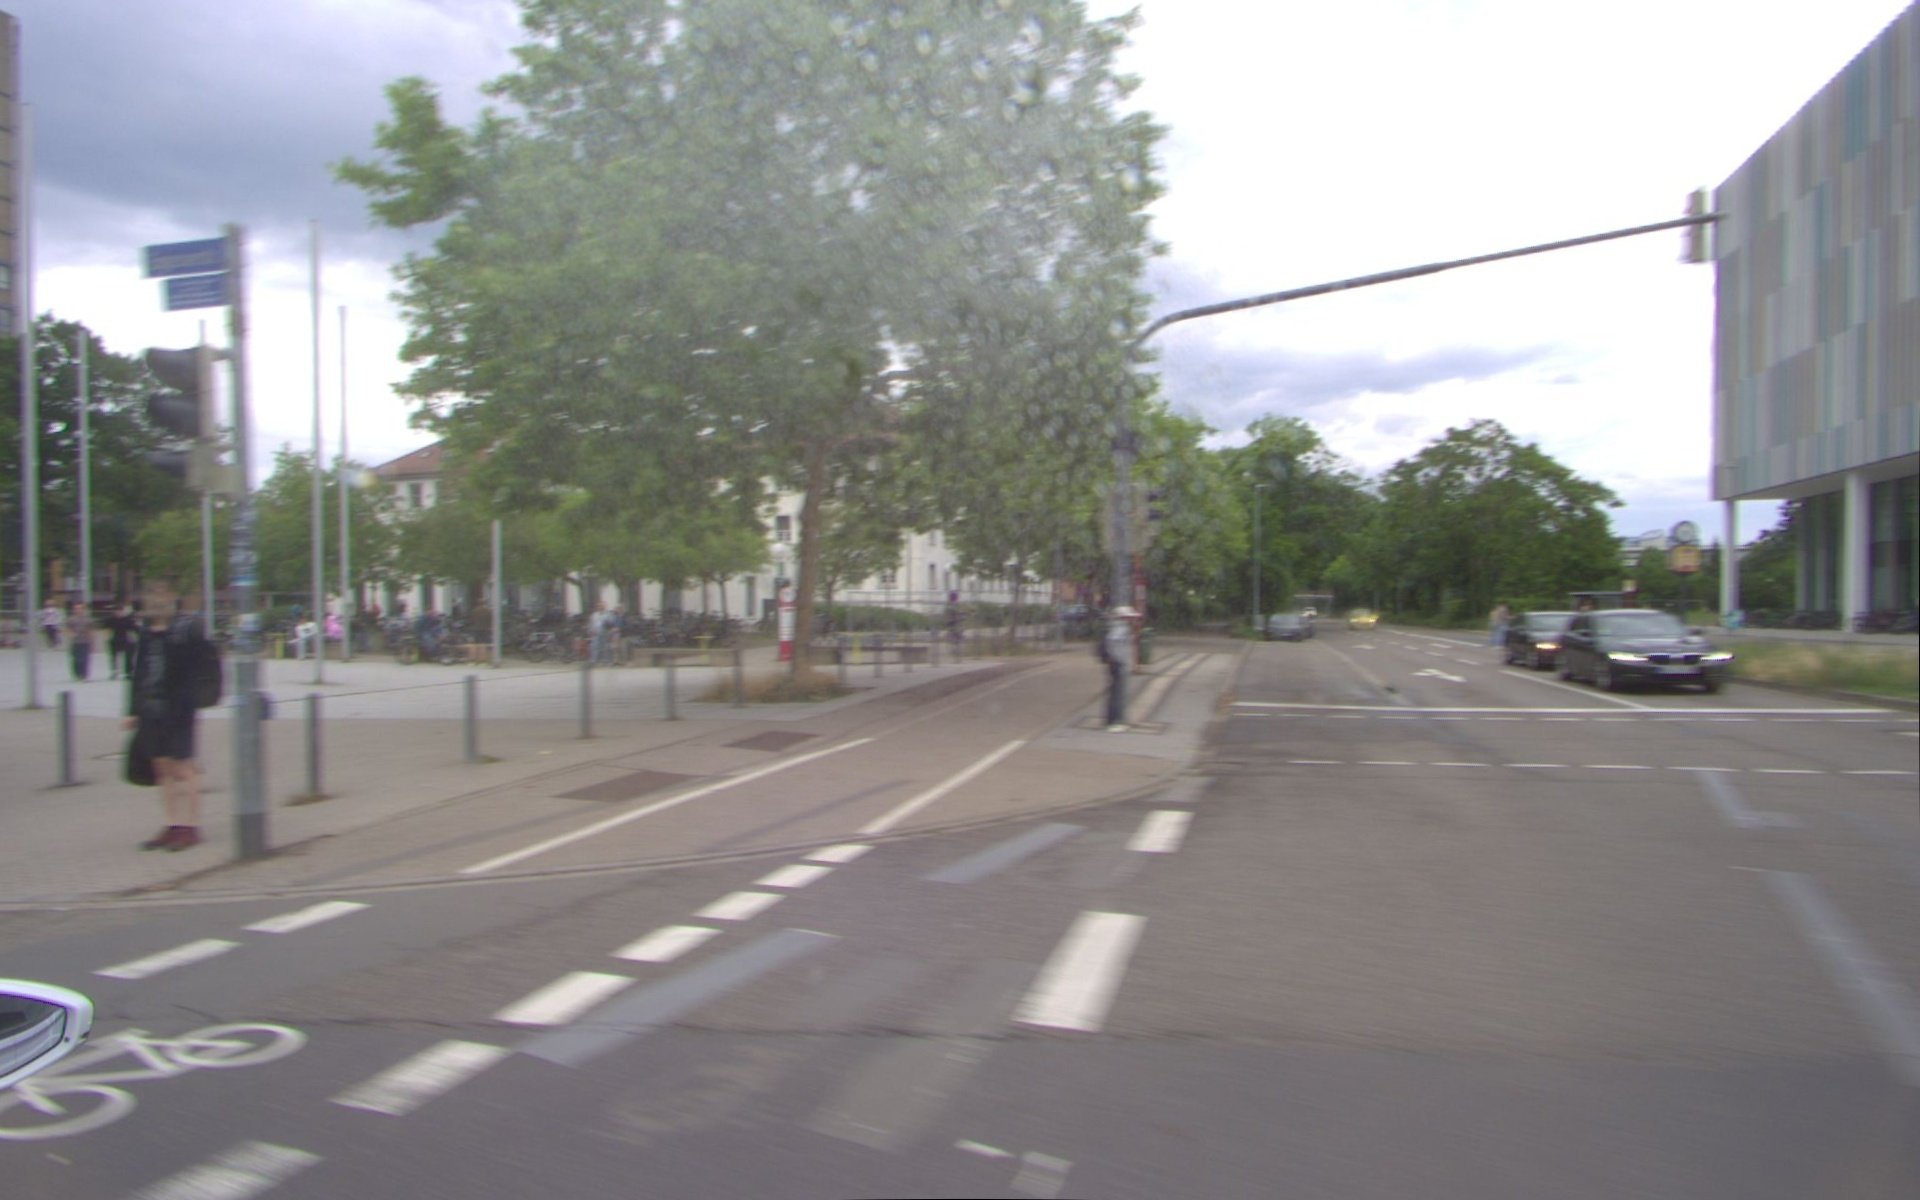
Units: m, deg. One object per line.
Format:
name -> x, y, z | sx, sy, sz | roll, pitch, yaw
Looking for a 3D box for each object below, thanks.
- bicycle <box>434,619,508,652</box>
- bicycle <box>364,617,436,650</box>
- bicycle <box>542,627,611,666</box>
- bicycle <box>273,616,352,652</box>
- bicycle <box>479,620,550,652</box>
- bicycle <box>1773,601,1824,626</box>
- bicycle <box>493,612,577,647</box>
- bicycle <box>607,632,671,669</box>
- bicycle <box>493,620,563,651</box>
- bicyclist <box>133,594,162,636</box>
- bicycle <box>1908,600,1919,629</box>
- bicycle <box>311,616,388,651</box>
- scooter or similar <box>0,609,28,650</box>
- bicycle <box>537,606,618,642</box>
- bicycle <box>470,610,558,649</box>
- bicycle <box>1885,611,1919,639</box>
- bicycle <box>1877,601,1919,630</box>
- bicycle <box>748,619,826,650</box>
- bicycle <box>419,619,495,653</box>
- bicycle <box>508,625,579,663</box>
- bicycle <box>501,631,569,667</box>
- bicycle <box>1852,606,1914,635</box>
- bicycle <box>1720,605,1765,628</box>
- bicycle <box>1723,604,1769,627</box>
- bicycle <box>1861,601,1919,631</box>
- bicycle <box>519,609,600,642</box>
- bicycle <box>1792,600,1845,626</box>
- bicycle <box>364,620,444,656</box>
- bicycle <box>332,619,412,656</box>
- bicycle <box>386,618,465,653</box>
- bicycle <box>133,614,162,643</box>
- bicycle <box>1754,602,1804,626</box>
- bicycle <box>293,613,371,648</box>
bicycle -> -19.798, 1.433, 40.531 | 3.052, 1.185, 0.747 | 2, -1, 19
bicycle -> -23.336, 1.389, 41.741 | 3.052, 1.185, 0.747 | 2, -1, 19
bicycle -> -10.985, 1.319, 28.671 | 1.899, 1.063, 0.457 | 1, 1, 13
bicycle -> -24.315, 1.266, 37.595 | 3.052, 1.185, 0.747 | 2, -1, 19
bicycle -> -19.088, 1.530, 42.898 | 3.052, 1.185, 0.747 | 2, -1, 18
bicycle -> 46.237, 0.747, 55.226 | 2.065, 1.275, 0.628 | 2, -1, 16
bicycle -> -15.224, 1.046, 35.863 | 3.053, 1.185, 0.746 | 0, -1, 19
bicycle -> -9.730, 1.530, 30.349 | 1.899, 1.063, 0.457 | 1, 1, 13
bicycle -> -18.832, 1.562, 43.633 | 3.052, 1.185, 0.747 | 2, -1, 18
bicyclist -> -32.280, 0.592, 39.777 | 0.866, 1.662, 0.861 | 1, -1, -40
bicycle -> 43.302, 0.670, 44.151 | 2.065, 1.275, 0.628 | 2, -1, 16
bicycle -> -23.833, 1.296, 39.093 | 3.052, 1.185, 0.747 | 2, -1, 19
scooter or similar -> -32.546, 0.997, 34.084 | 0.398, 1.387, 1.491 | 3, -1, -10
bicycle -> -14.511, 0.906, 37.966 | 3.052, 1.185, 0.747 | 2, -1, 19
bicycle -> -15.466, 1.016, 34.719 | 3.052, 1.185, 0.747 | 2, -1, 19
bicycle -> 43.282, 1.117, 45.303 | 2.066, 1.275, 0.628 | 0, 0, 16
bicycle -> 43.532, 0.727, 45.925 | 2.065, 1.275, 0.628 | 2, -1, 16
bicycle -> -7.645, 1.536, 44.304 | 3.336, 1.185, 1.053 | 2, -1, 23
bicycle -> -19.974, 1.405, 39.765 | 3.052, 1.185, 0.747 | 2, -1, 20
bicycle -> -12.085, 1.273, 29.079 | 1.898, 1.063, 0.457 | 1, 1, 3
bicycle -> -12.869, 1.482, 30.357 | 1.898, 1.063, 0.457 | 1, 1, 4
bicycle -> 43.773, 0.965, 47.511 | 2.065, 1.275, 0.628 | 2, -1, 16
bicycle -> 47.968, 1.020, 61.394 | 2.065, 1.275, 0.628 | 2, -1, 16
bicycle -> 47.641, 0.919, 60.678 | 2.065, 1.275, 0.628 | 2, -1, 16
bicycle -> 43.607, 0.754, 46.836 | 2.065, 1.275, 0.628 | 2, -1, 16
bicycle -> -14.802, 0.930, 36.977 | 3.053, 1.185, 0.746 | 0, -1, 19
bicycle -> 45.796, 0.678, 53.433 | 2.065, 1.275, 0.628 | 2, -1, 16
bicycle -> -20.778, 1.405, 37.430 | 3.052, 1.185, 0.747 | 2, -1, 19
bicycle -> -21.175, 1.349, 36.024 | 3.052, 1.185, 0.621 | 2, -1, 19
bicycle -> -20.432, 1.344, 38.285 | 3.052, 1.185, 0.747 | 2, -1, 19
bicycle -> -32.288, 1.121, 39.785 | 0.866, 1.107, 1.786 | 1, -1, -39
bicycle -> 46.602, 0.811, 56.988 | 2.065, 1.275, 0.628 | 2, -1, 16
bicycle -> -24.055, 1.152, 38.342 | 3.052, 1.185, 0.747 | 2, -1, 19
